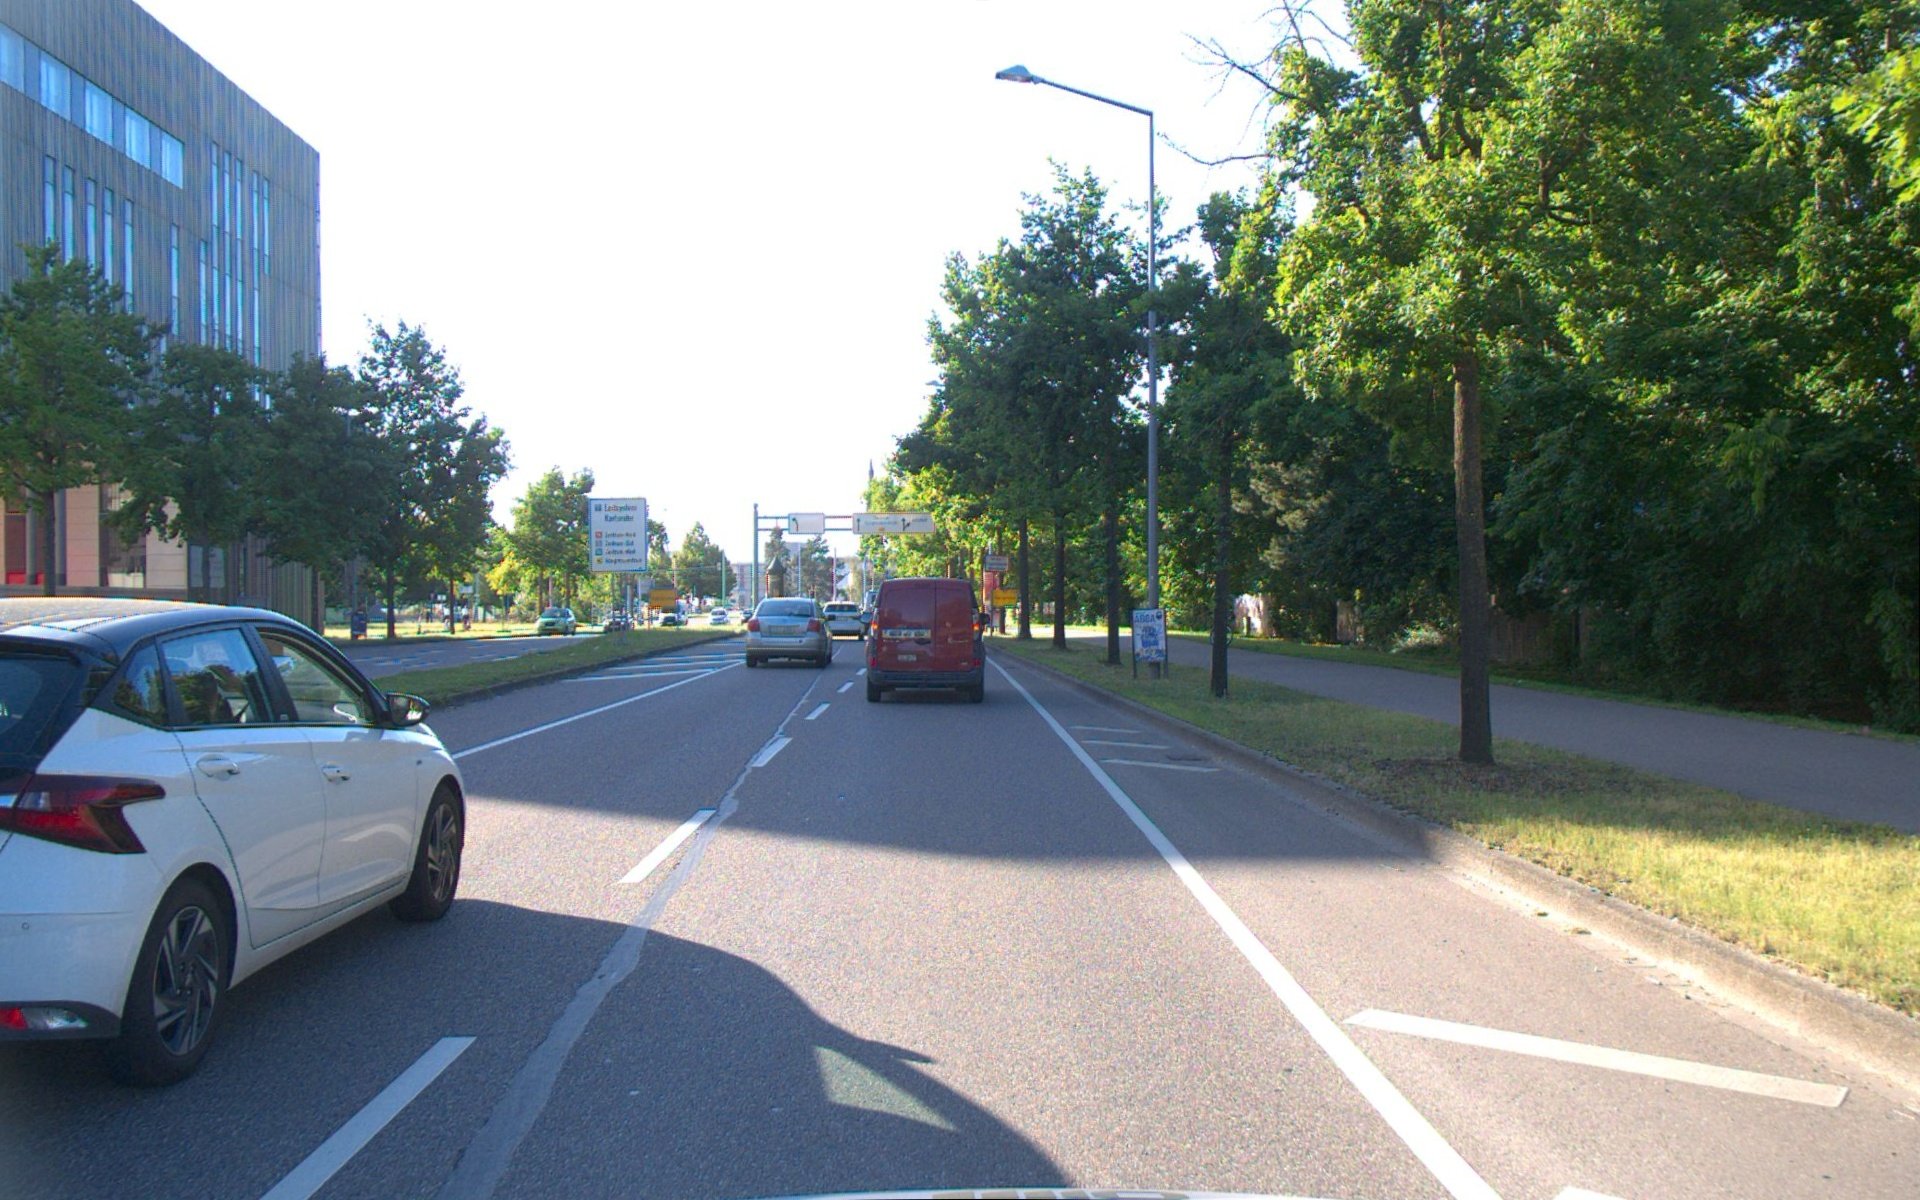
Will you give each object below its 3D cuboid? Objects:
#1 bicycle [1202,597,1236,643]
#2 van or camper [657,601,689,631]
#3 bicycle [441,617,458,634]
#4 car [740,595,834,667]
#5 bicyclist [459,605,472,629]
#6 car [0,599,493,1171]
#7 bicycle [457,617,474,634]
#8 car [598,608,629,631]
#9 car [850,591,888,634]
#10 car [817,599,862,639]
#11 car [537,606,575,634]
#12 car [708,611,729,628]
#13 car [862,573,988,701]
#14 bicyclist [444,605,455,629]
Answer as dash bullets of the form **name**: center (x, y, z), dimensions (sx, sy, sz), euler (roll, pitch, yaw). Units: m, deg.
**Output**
- **bicycle**: center (6.725, 0.503, 42.994), dimensions (0.757, 1.151, 1.709), euler (-1, 0, 5)
- **van or camper**: center (-24.713, 1.342, 142.704), dimensions (1.954, 2.410, 5.989), euler (-2, 0, -3)
- **bicycle**: center (-31.187, 1.535, 101.071), dimensions (0.477, 1.021, 2.094), euler (-1, -1, -4)
- **car**: center (-3.762, 0.645, 36.495), dimensions (1.804, 1.482, 4.160), euler (1, 0, -3)
- **bicyclist**: center (-30.084, 1.022, 100.637), dimensions (0.551, 1.417, 0.747), euler (-1, -1, -4)
- **car**: center (-3.188, 0.722, 6.222), dimensions (1.742, 1.433, 4.074), euler (0, 0, -1)
- **bicycle**: center (-30.080, 1.524, 100.659), dimensions (0.559, 1.021, 2.094), euler (-1, -1, -4)
- **car**: center (-23.893, 1.319, 114.158), dimensions (1.520, 1.534, 4.023), euler (-1, 0, -4)
- **car**: center (-4.109, 0.560, 74.438), dimensions (1.628, 1.889, 3.556), euler (-1, 0, -3)
- **car**: center (-4.472, 0.689, 61.740), dimensions (1.628, 1.422, 3.556), euler (-1, 0, -3)
- **car**: center (-21.824, 1.051, 89.365), dimensions (1.417, 1.461, 3.456), euler (-1, 0, -4)
- **car**: center (-21.897, 1.739, 149.915), dimensions (1.655, 1.502, 4.045), euler (-1, 0, -5)
- **car**: center (-0.604, 0.528, 25.408), dimensions (1.770, 1.790, 4.003), euler (1, 0, -3)
- **bicyclist**: center (-31.190, 1.048, 101.002), dimensions (0.473, 1.419, 0.844), euler (-1, -1, -4)
